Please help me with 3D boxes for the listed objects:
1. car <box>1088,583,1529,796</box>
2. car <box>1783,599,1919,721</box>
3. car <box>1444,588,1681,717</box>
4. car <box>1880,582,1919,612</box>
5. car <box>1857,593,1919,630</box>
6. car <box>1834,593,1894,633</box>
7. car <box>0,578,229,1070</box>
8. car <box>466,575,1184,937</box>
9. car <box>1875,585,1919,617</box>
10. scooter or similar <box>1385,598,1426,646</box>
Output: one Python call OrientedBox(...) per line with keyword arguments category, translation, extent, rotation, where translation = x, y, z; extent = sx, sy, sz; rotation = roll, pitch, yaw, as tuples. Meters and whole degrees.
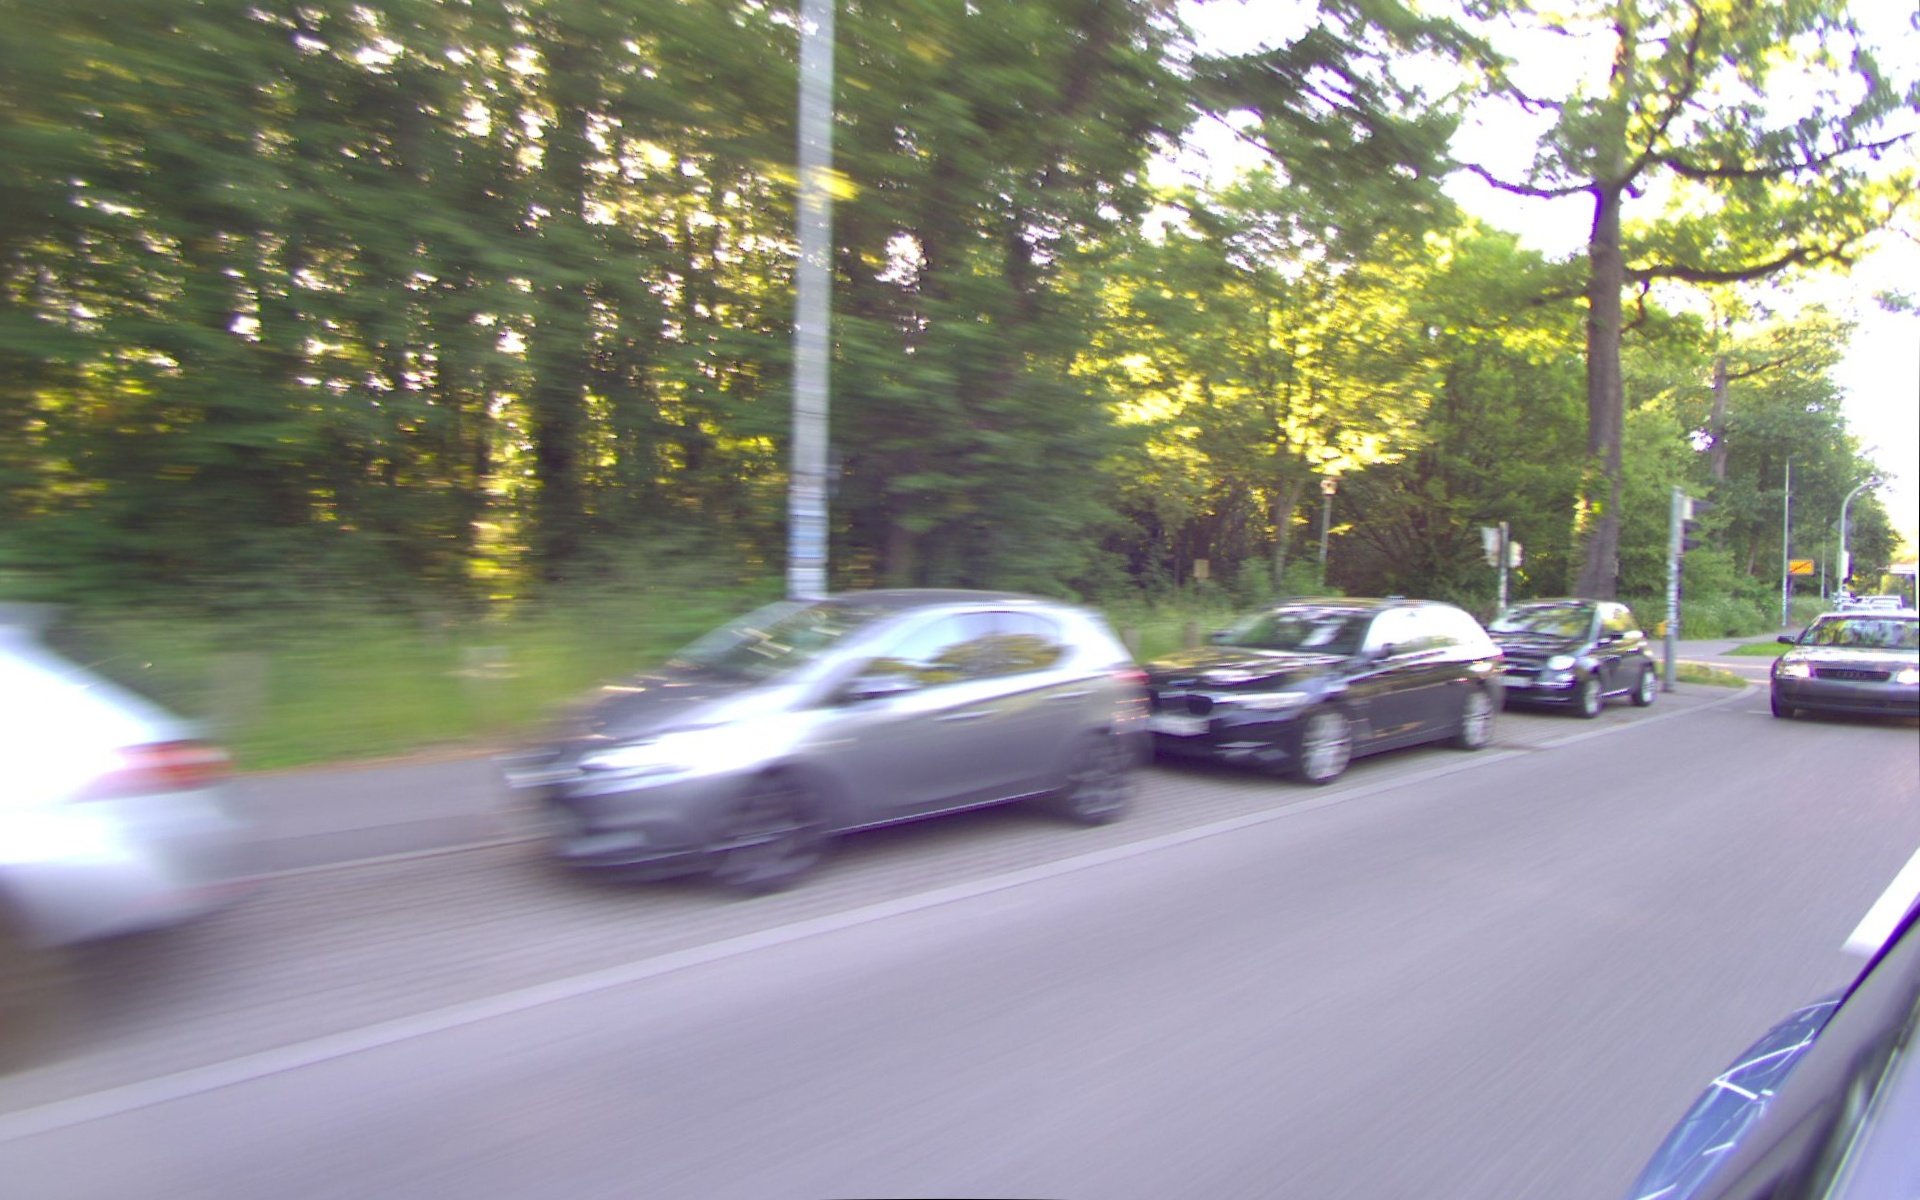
OrientedBox(category="car", translation=(3.499, 0.610, 9.556), extent=(4.901, 1.487, 1.721), rotation=(-1, 2, -41))
OrientedBox(category="car", translation=(12.306, 0.695, 13.409), extent=(3.927, 1.376, 1.676), rotation=(-1, 0, -43))
OrientedBox(category="car", translation=(8.374, 0.606, 13.962), extent=(3.691, 1.487, 1.721), rotation=(-1, 2, -41))
OrientedBox(category="car", translation=(63.247, -0.238, 68.207), extent=(1.813, 1.945, 5.188), rotation=(-1, 0, 42))
OrientedBox(category="car", translation=(41.762, 0.465, 45.422), extent=(5.031, 1.487, 1.764), rotation=(-1, 2, -43))
OrientedBox(category="car", translation=(37.413, 0.498, 41.865), extent=(1.718, 1.487, 3.813), rotation=(2, 2, 43))
OrientedBox(category="car", translation=(-4.502, 0.670, 2.669), extent=(4.053, 1.429, 1.721), rotation=(-1, 2, -41))
OrientedBox(category="car", translation=(-0.587, 0.605, 6.225), extent=(4.129, 1.487, 1.721), rotation=(-1, 2, -41))
OrientedBox(category="car", translation=(53.206, 0.018, 57.403), extent=(1.815, 1.654, 3.770), rotation=(2, 2, 44))
OrientedBox(category="scooter or similar", translation=(11.098, 0.530, 25.182), extent=(1.200, 1.158, 0.379), rotation=(0, 0, -36))
